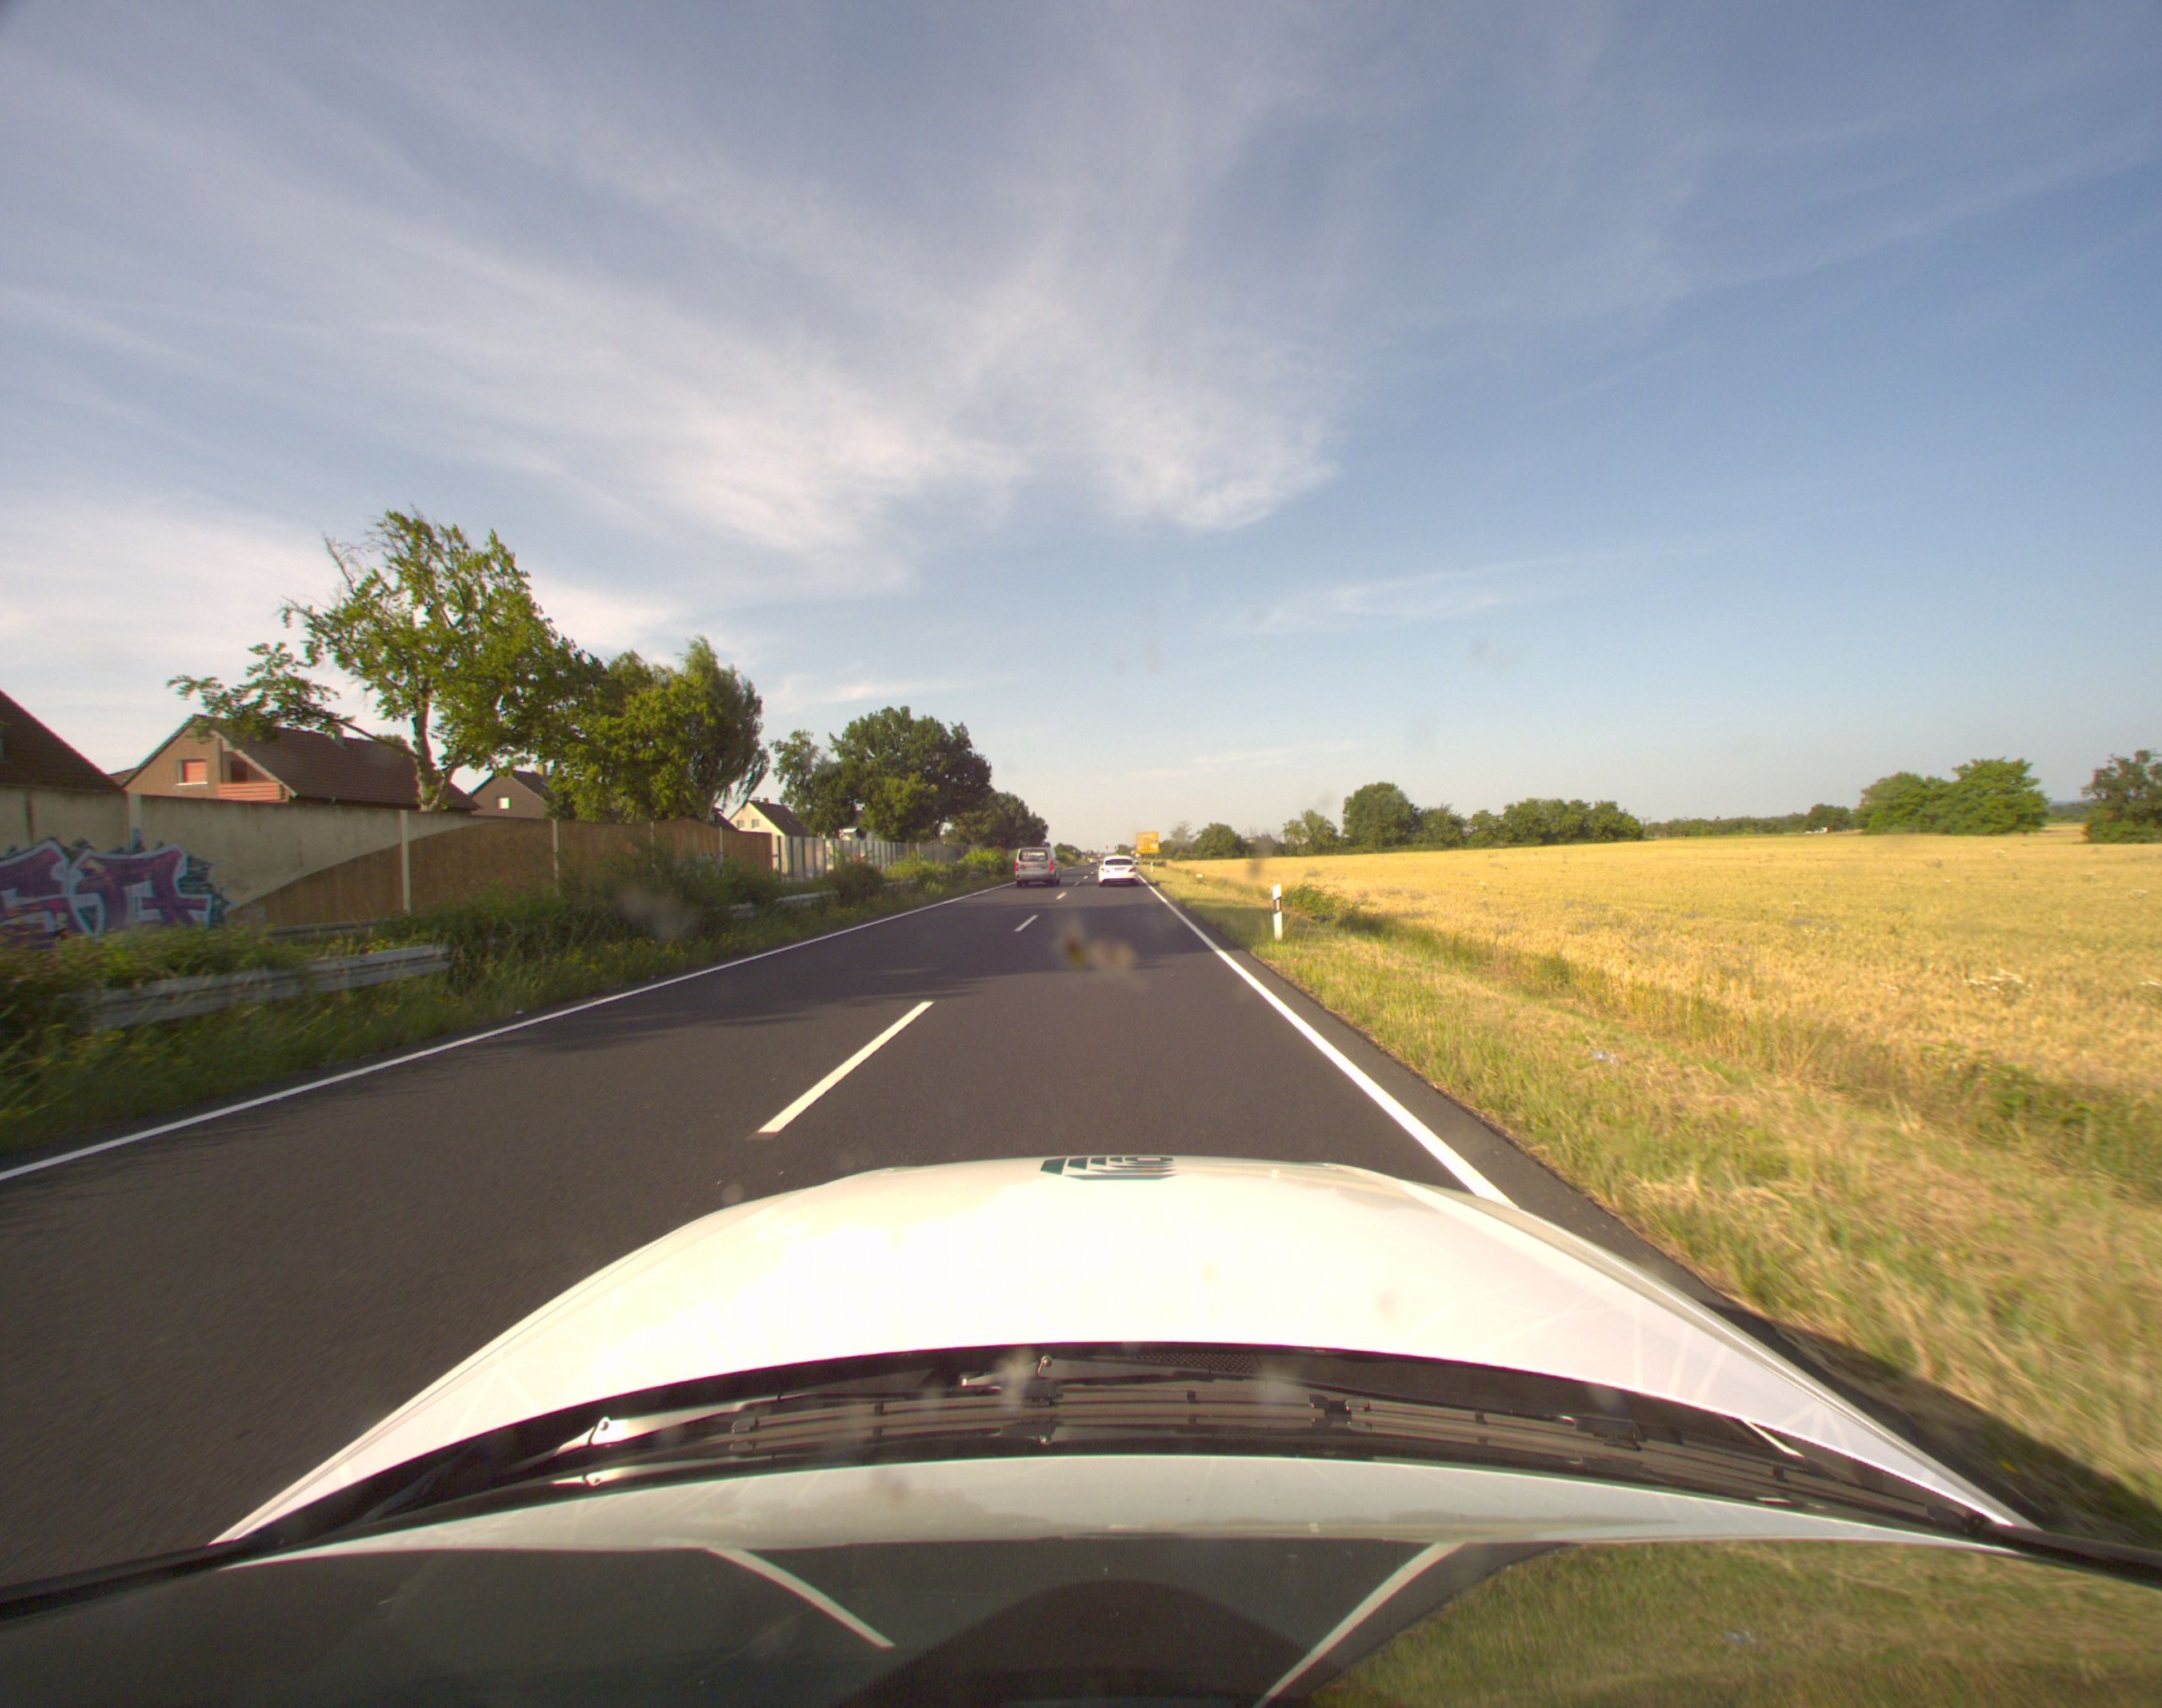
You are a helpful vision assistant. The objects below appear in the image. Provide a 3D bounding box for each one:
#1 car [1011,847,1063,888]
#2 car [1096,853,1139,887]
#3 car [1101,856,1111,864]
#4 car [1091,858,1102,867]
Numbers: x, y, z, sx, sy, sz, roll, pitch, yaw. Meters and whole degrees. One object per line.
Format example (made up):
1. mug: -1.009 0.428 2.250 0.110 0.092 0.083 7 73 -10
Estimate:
1. car: -2.089 0.619 40.153 2.017 1.892 4.962 0 0 3
2. car: 1.730 0.733 38.901 1.887 1.509 4.002 -1 -1 2
3. car: 5.195 1.259 169.623 1.871 1.651 3.664 0 -1 1
4. car: 2.703 1.540 141.457 1.710 1.492 3.587 0 -1 3
